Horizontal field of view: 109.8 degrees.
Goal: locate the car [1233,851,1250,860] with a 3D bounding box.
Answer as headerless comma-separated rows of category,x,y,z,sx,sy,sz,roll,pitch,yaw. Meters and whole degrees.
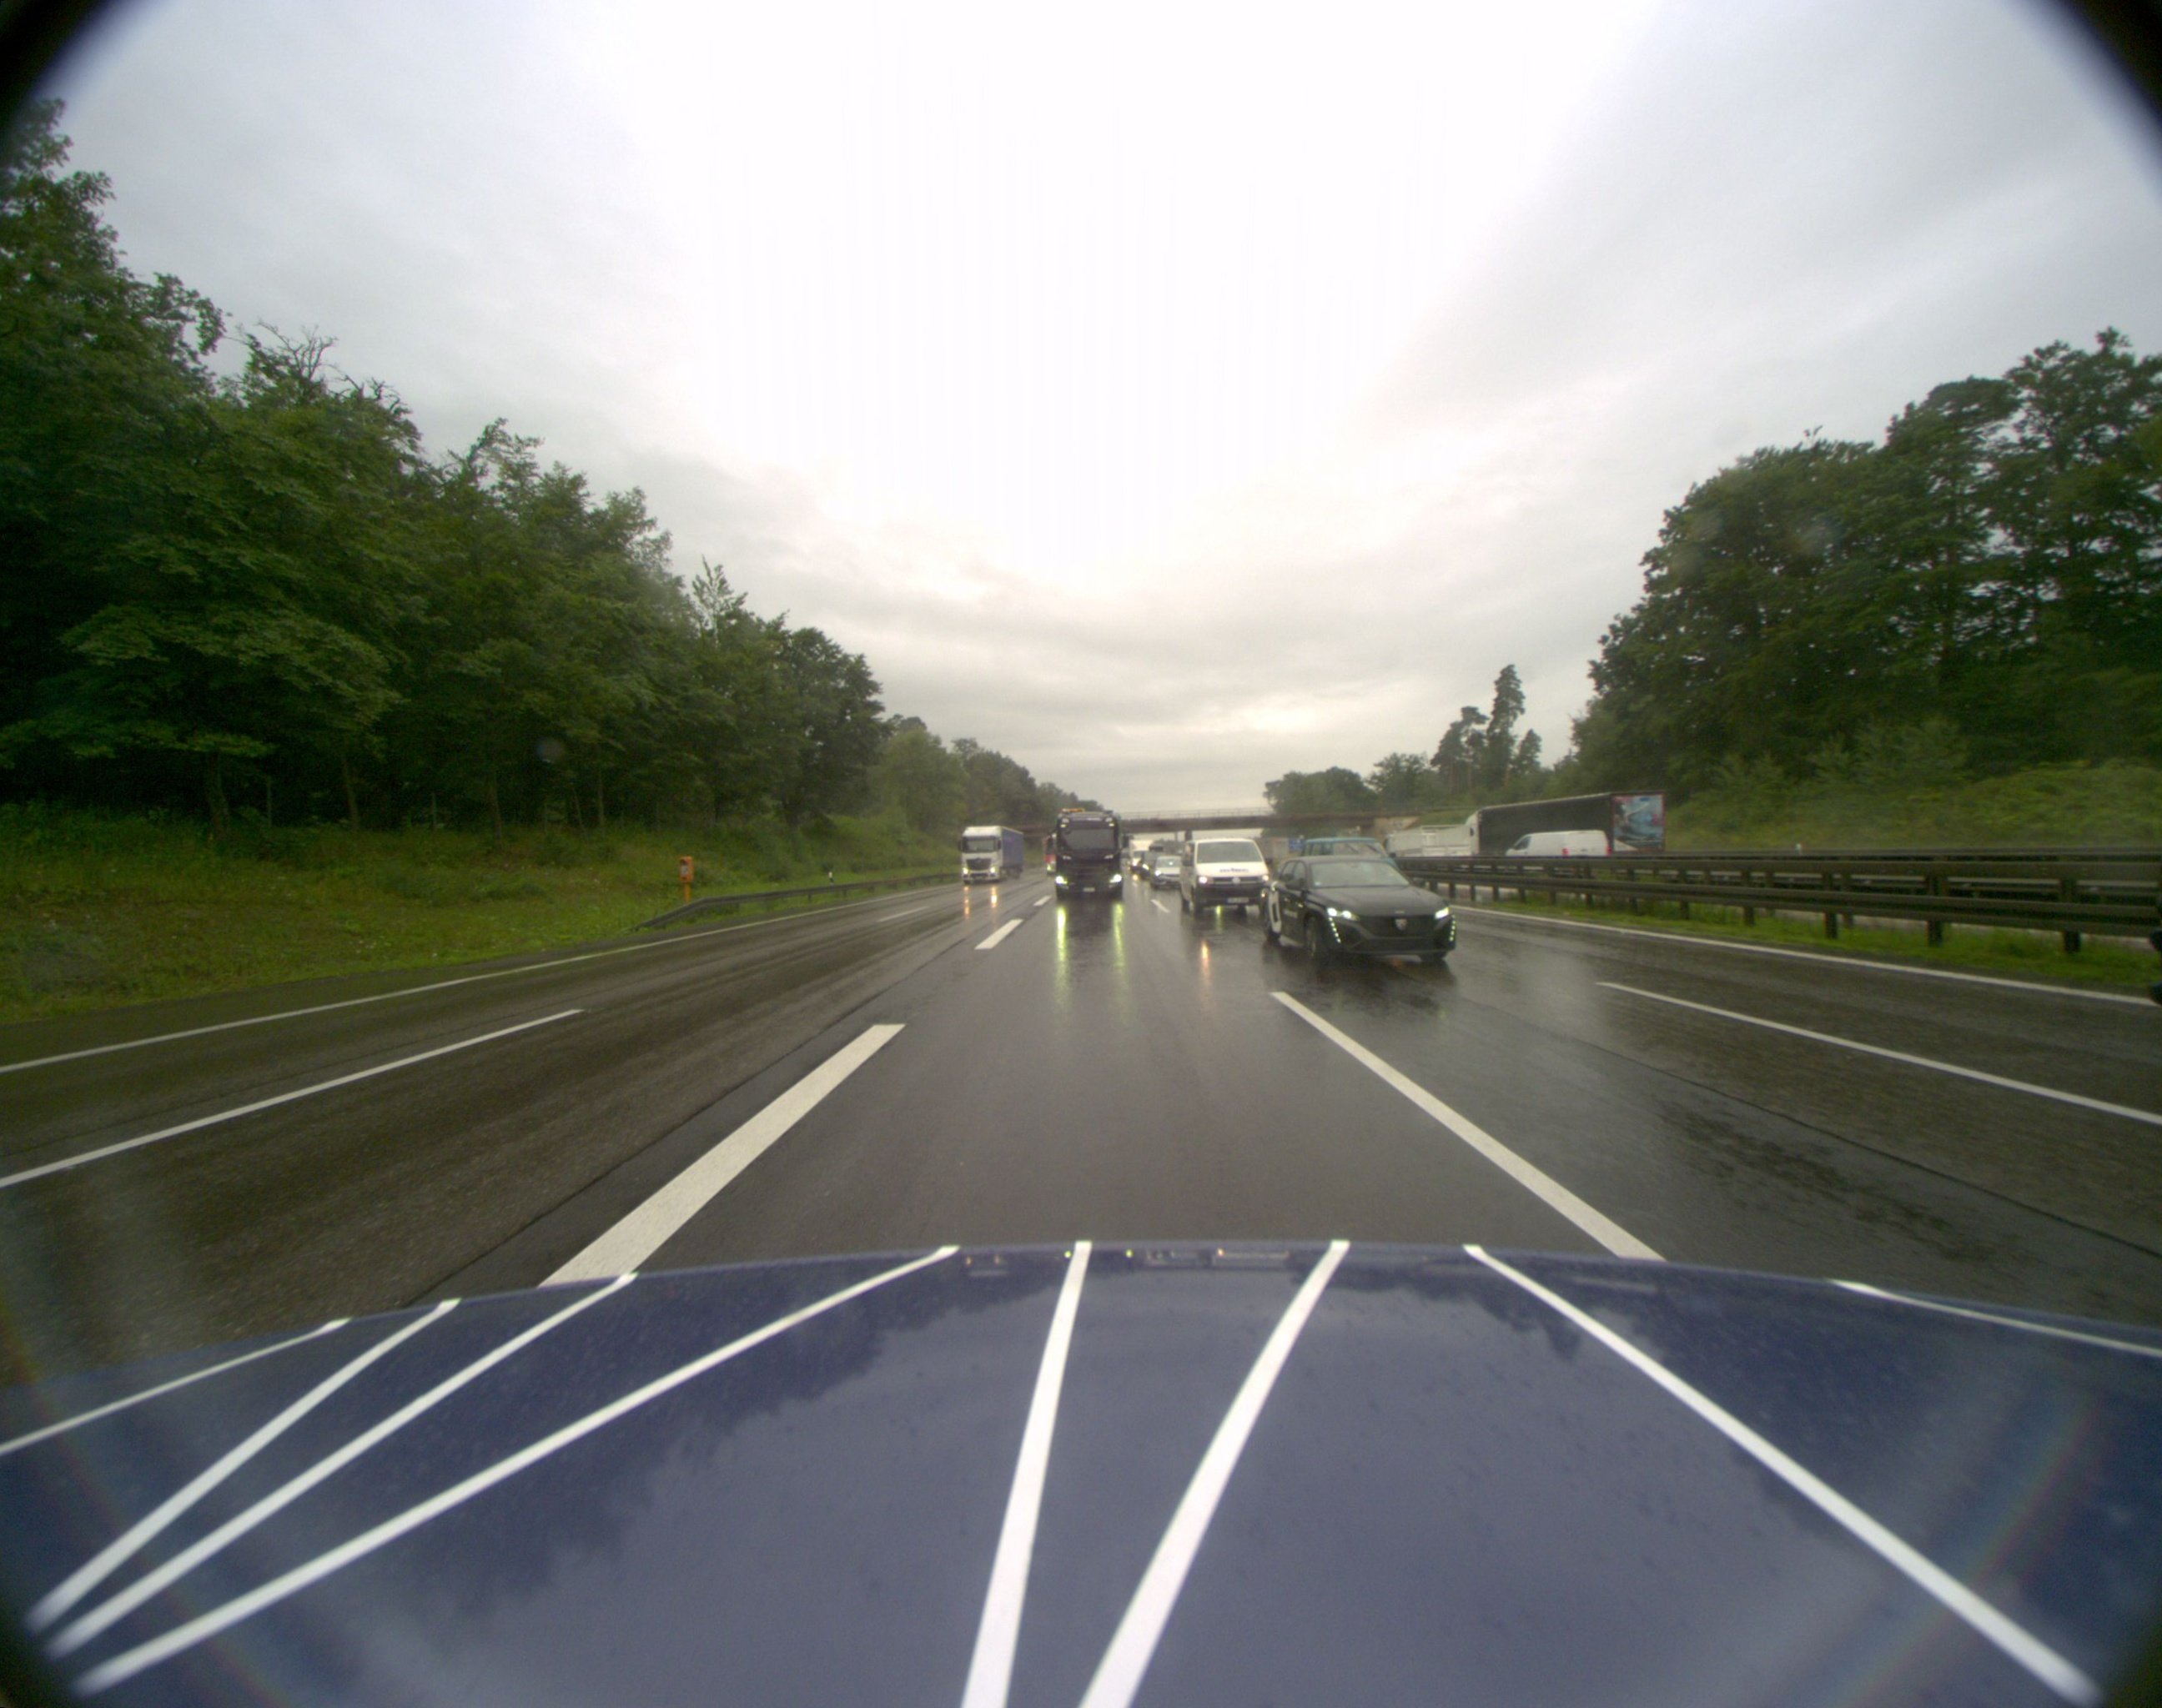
car,23.784,0.256,112.477,1.705,1.297,3.756,-2,0,1

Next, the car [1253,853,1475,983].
car,3.954,0.780,11.483,1.850,1.496,4.467,-2,0,3

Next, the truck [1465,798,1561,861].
truck,28.367,-1.502,50.252,3.027,3.795,6.265,-2,0,3

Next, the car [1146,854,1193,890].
car,4.082,0.806,35.515,1.850,1.496,4.467,-2,0,3

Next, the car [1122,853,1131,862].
car,10.651,0.710,177.369,1.864,1.556,4.431,-2,6,1

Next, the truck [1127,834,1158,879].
truck,5.689,0.235,71.062,2.520,3.941,6.995,-2,0,3

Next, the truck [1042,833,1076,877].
truck,-2.072,0.094,72.780,2.607,3.934,5.601,-2,1,4

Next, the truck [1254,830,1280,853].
truck,33.263,-2.163,136.275,2.710,3.909,10.029,-2,0,4

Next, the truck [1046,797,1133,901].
truck,0.622,-0.246,31.941,2.879,3.528,10.912,-2,1,3

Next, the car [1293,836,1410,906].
car,8.106,0.442,23.285,1.915,1.852,4.759,-2,0,1

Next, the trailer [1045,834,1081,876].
trailer,-1.692,0.065,79.688,2.607,3.934,14.583,-2,0,3

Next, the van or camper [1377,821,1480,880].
van or camper,15.895,-0.156,35.189,2.233,2.408,5.701,-2,0,1

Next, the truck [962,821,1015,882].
truck,-6.522,-0.202,54.489,2.608,3.990,6.013,-3,1,2

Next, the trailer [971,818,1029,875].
trailer,-6.279,-0.606,61.355,2.559,3.990,13.715,-2,0,2

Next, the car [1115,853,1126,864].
car,7.528,0.809,145.226,1.998,2.002,4.000,-2,0,1

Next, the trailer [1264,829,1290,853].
trailer,32.636,-2.144,126.964,2.688,3.795,9.009,-2,0,5

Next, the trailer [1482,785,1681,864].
trailer,28.075,-1.464,43.976,3.031,3.795,13.562,-2,0,2

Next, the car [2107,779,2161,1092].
car,7.583,0.486,2.279,1.996,1.932,5.243,-2,0,2

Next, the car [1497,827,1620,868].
car,19.479,-0.240,31.288,1.999,1.498,4.706,-1,0,-1

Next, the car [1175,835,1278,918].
car,3.715,0.532,20.237,1.994,1.869,4.768,-2,0,3

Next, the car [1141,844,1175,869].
car,5.164,0.161,51.592,1.994,1.551,4.768,-2,0,2
